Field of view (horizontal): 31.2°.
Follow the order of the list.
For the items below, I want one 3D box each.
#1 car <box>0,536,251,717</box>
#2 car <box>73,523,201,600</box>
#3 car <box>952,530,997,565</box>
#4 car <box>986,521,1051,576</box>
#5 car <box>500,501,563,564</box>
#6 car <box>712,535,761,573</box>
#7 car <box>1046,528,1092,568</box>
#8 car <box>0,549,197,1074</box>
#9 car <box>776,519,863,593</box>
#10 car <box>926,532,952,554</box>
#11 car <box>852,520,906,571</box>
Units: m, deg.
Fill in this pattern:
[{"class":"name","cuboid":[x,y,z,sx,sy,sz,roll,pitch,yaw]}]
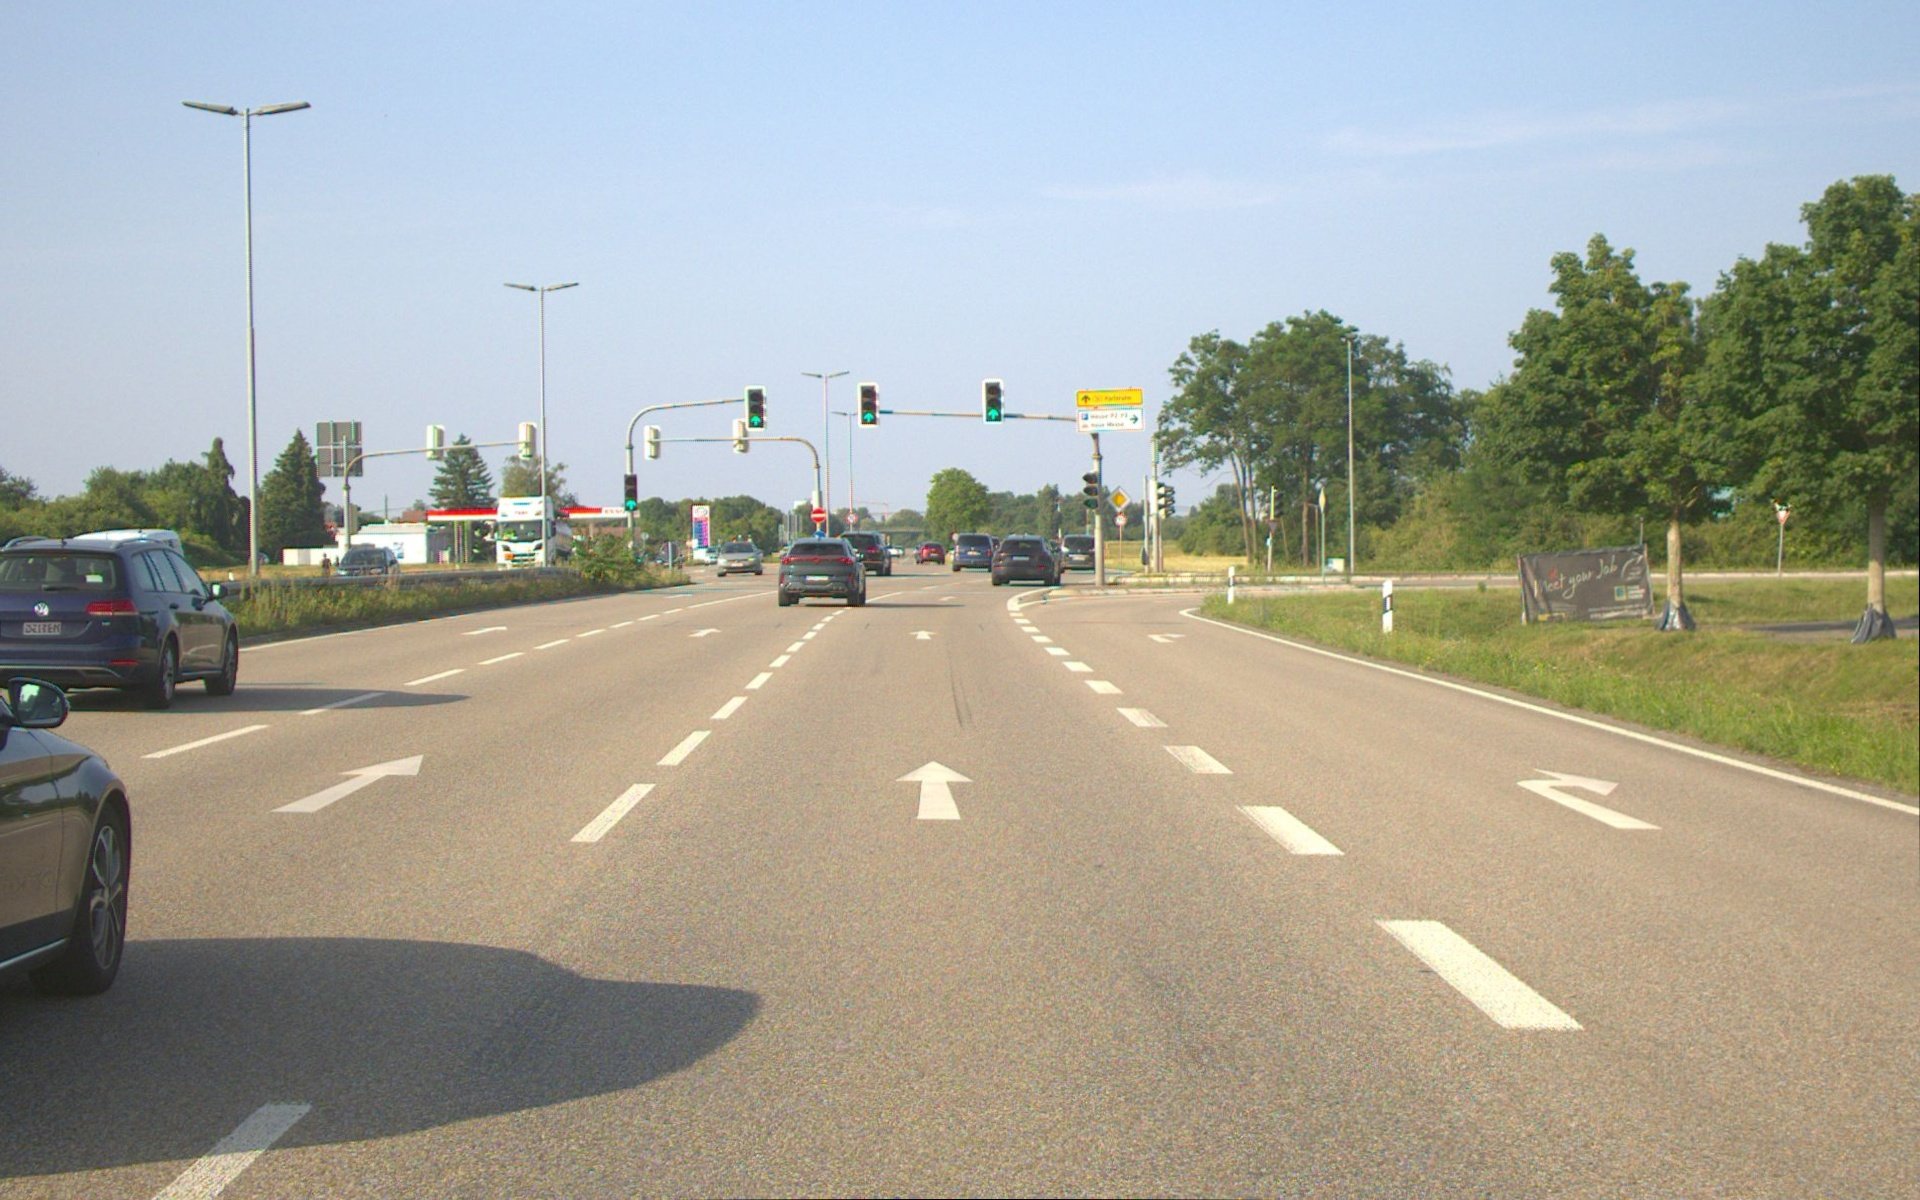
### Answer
[{"class":"car","cuboid":[-7.595,0.177,30.541,1.646,1.466,4.777,0,1,-1]},{"class":"car","cuboid":[-14.925,-0.722,62.491,1.521,1.358,3.444,0,1,-1]},{"class":"car","cuboid":[0.612,-2.271,148.000,1.812,1.458,4.401,2,1,-1]},{"class":"car","cuboid":[1.867,-1.691,110.890,1.932,1.674,4.401,2,1,-1]},{"class":"car","cuboid":[-19.581,-3.092,157.135,2.271,2.843,5.249,0,1,-1]},{"class":"car","cuboid":[-9.326,-1.930,143.711,1.600,1.527,4.000,2,1,3]},{"class":"car","cuboid":[4.550,-2.188,144.083,1.748,1.612,3.758,2,1,-1]},{"class":"car","cuboid":[-3.495,0.605,9.738,1.572,1.466,5.023,0,1,0]},{"class":"car","cuboid":[-3.237,-1.040,79.863,1.845,1.606,4.401,2,1,-1]},{"class":"car","cuboid":[-1.482,-4.039,243.394,1.812,1.458,3.807,2,1,-1]},{"class":"car","cuboid":[-3.039,-2.039,129.964,1.993,1.875,4.000,1,0,-1]}]
